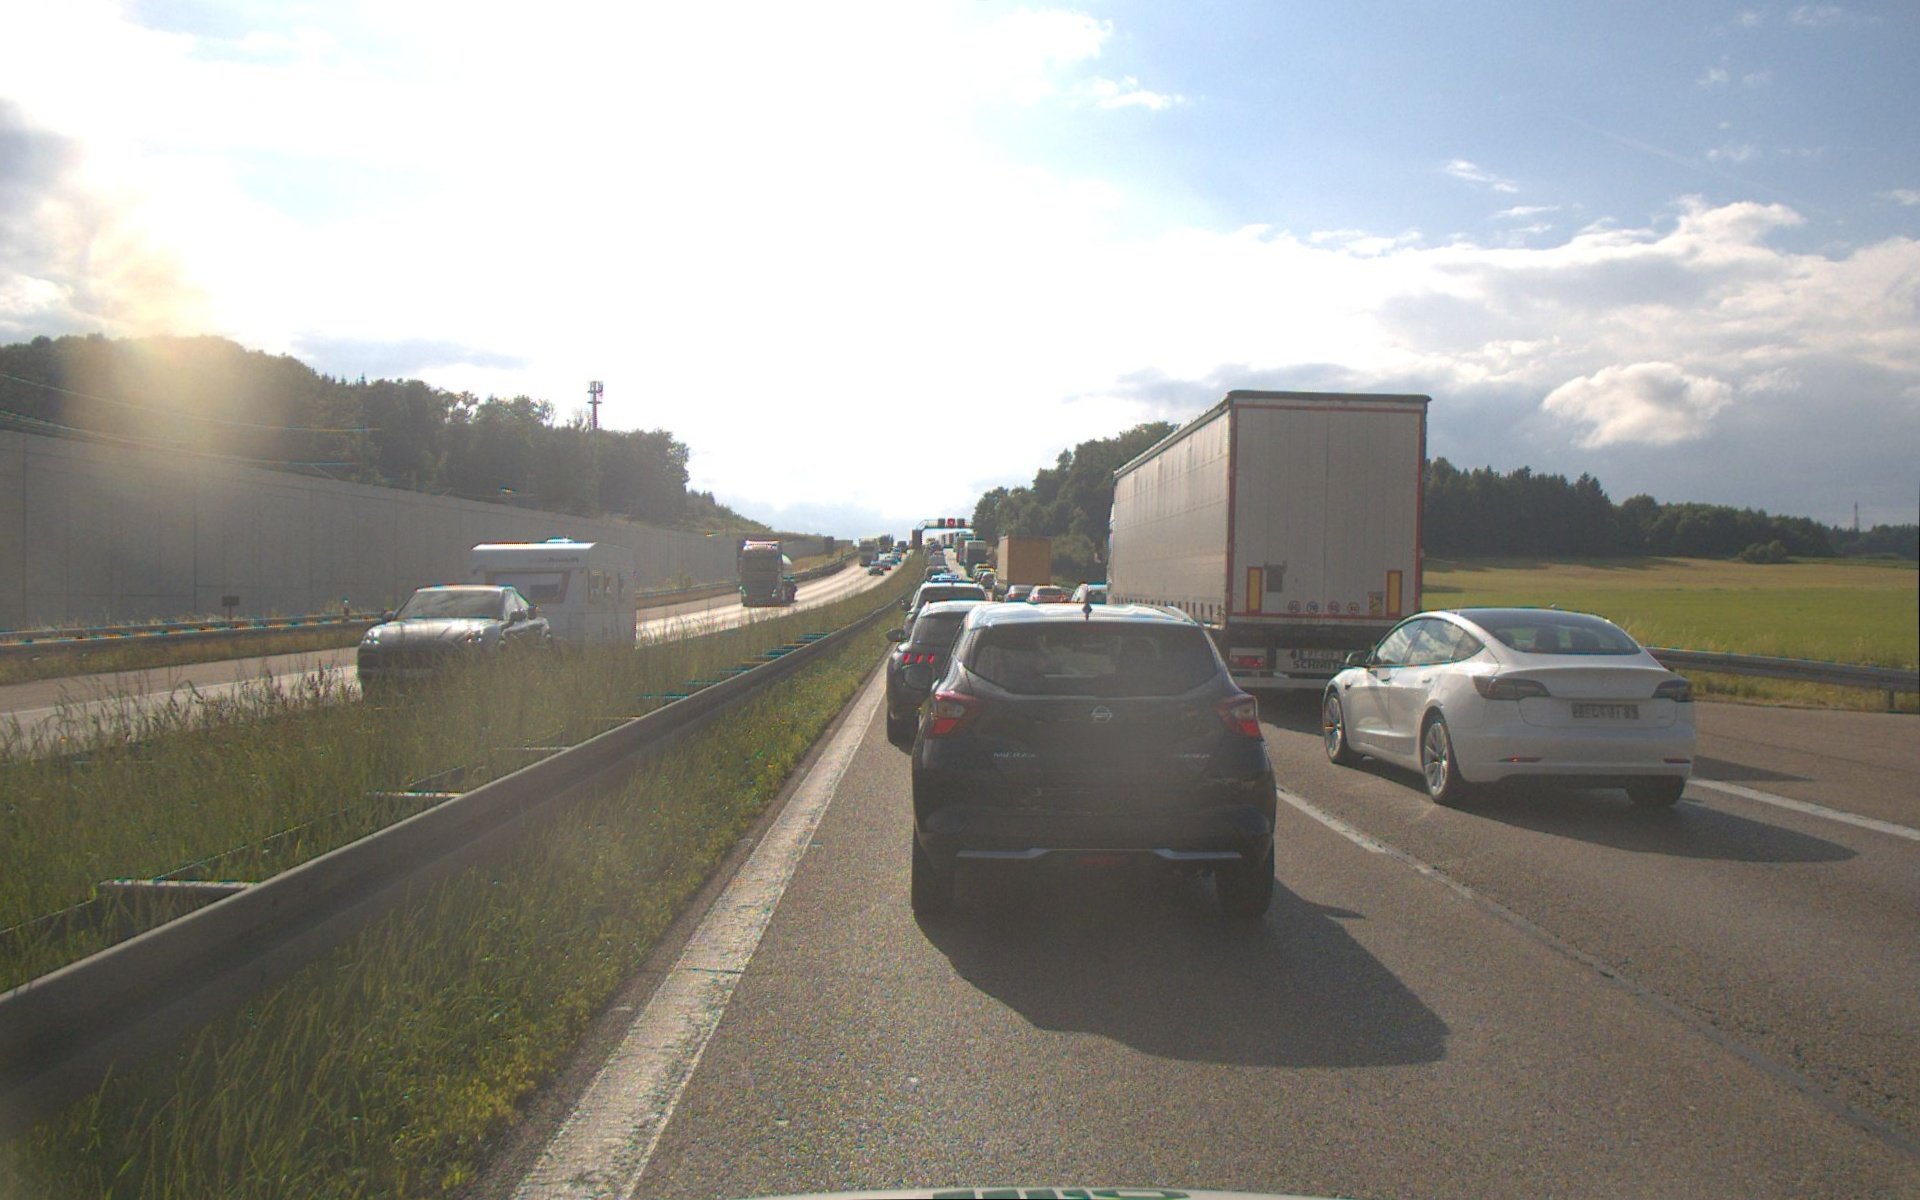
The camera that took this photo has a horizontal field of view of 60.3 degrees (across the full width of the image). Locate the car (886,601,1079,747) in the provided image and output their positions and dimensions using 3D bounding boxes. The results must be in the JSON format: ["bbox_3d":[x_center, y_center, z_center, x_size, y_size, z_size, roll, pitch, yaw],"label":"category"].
[{"bbox_3d":[0.190,0.703,17.829,1.835,1.381,4.231,0,0,-1],"label":"car"}]

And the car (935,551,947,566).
[{"bbox_3d":[-2.912,-6.313,251.985,1.835,2.196,5.211,0,3,-1],"label":"car"}]

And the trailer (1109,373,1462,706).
[{"bbox_3d":[4.640,-0.647,27.152,3.067,4.081,13.364,1,-1,0],"label":"trailer"}]

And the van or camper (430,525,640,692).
[{"bbox_3d":[-7.684,0.133,30.798,2.207,2.751,7.168,0,0,-1],"label":"van or camper"}]

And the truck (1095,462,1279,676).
[{"bbox_3d":[4.605,-0.563,34.533,3.069,4.086,5.163,1,-1,0],"label":"truck"}]

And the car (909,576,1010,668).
[{"bbox_3d":[-0.028,0.393,32.115,1.835,1.673,4.231,0,0,-1],"label":"car"}]

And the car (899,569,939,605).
[{"bbox_3d":[-1.942,-0.638,78.501,1.835,1.673,4.232,0,1,-1],"label":"car"}]

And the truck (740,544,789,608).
[{"bbox_3d":[-12.479,-1.495,105.855,2.530,3.991,5.721,-1,0,-1],"label":"truck"}]

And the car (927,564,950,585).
[{"bbox_3d":[-1.826,-2.118,138.344,1.835,1.673,4.231,0,2,-2],"label":"car"}]

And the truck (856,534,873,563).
[{"bbox_3d":[-14.608,-7.877,254.328,2.332,4.254,5.931,-1,0,-1],"label":"truck"}]

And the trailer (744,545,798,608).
[{"bbox_3d":[-12.564,-1.497,110.996,2.536,3.970,10.862,-1,0,-1],"label":"trailer"}]

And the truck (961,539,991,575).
[{"bbox_3d":[2.100,-5.890,225.911,3.395,4.656,12.437,1,1,-2],"label":"truck"}]

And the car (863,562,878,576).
[{"bbox_3d":[-11.183,-3.864,206.880,1.744,1.767,4.101,0,0,-1],"label":"car"}]

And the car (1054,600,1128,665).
[{"bbox_3d":[3.477,0.833,44.548,1.663,1.639,4.437,0,0,0],"label":"car"}]

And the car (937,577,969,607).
[{"bbox_3d":[-0.412,-0.471,97.951,1.835,1.673,4.232,0,2,-1],"label":"car"}]

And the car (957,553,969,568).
[{"bbox_3d":[0.476,-6.119,255.299,1.835,2.196,5.211,0,3,-1],"label":"car"}]

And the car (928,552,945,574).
[{"bbox_3d":[-2.609,-4.069,181.917,1.835,2.196,5.211,0,3,-1],"label":"car"}]

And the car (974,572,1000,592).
[{"bbox_3d":[2.323,-1.575,143.160,1.836,1.673,4.229,0,2,-4],"label":"car"}]

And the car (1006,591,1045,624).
[{"bbox_3d":[3.416,0.382,87.263,1.835,1.673,4.232,0,1,-1],"label":"car"}]

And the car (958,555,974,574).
[{"bbox_3d":[0.720,-4.279,199.961,1.835,2.196,5.211,0,3,-1],"label":"car"}]

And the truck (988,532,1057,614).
[{"bbox_3d":[3.658,-1.503,100.754,3.230,4.657,12.434,1,0,-2],"label":"truck"}]

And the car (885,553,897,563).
[{"bbox_3d":[-10.837,-6.548,258.380,1.733,1.505,3.828,0,0,0],"label":"car"}]

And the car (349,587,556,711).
[{"bbox_3d":[-7.531,0.669,25.001,1.872,1.701,4.361,0,0,-1],"label":"car"}]

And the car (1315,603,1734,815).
[{"bbox_3d":[4.358,0.753,13.571,1.753,1.418,4.434,0,0,-3],"label":"car"}]

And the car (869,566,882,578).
[{"bbox_3d":[-11.641,-3.866,229.214,1.663,1.525,4.426,0,0,-1],"label":"car"}]

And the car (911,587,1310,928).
[{"bbox_3d":[0.633,0.684,9.298,1.737,1.476,4.231,0,0,-1],"label":"car"}]

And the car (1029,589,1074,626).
[{"bbox_3d":[4.276,0.330,77.949,1.835,1.673,4.232,0,1,-1],"label":"car"}]
